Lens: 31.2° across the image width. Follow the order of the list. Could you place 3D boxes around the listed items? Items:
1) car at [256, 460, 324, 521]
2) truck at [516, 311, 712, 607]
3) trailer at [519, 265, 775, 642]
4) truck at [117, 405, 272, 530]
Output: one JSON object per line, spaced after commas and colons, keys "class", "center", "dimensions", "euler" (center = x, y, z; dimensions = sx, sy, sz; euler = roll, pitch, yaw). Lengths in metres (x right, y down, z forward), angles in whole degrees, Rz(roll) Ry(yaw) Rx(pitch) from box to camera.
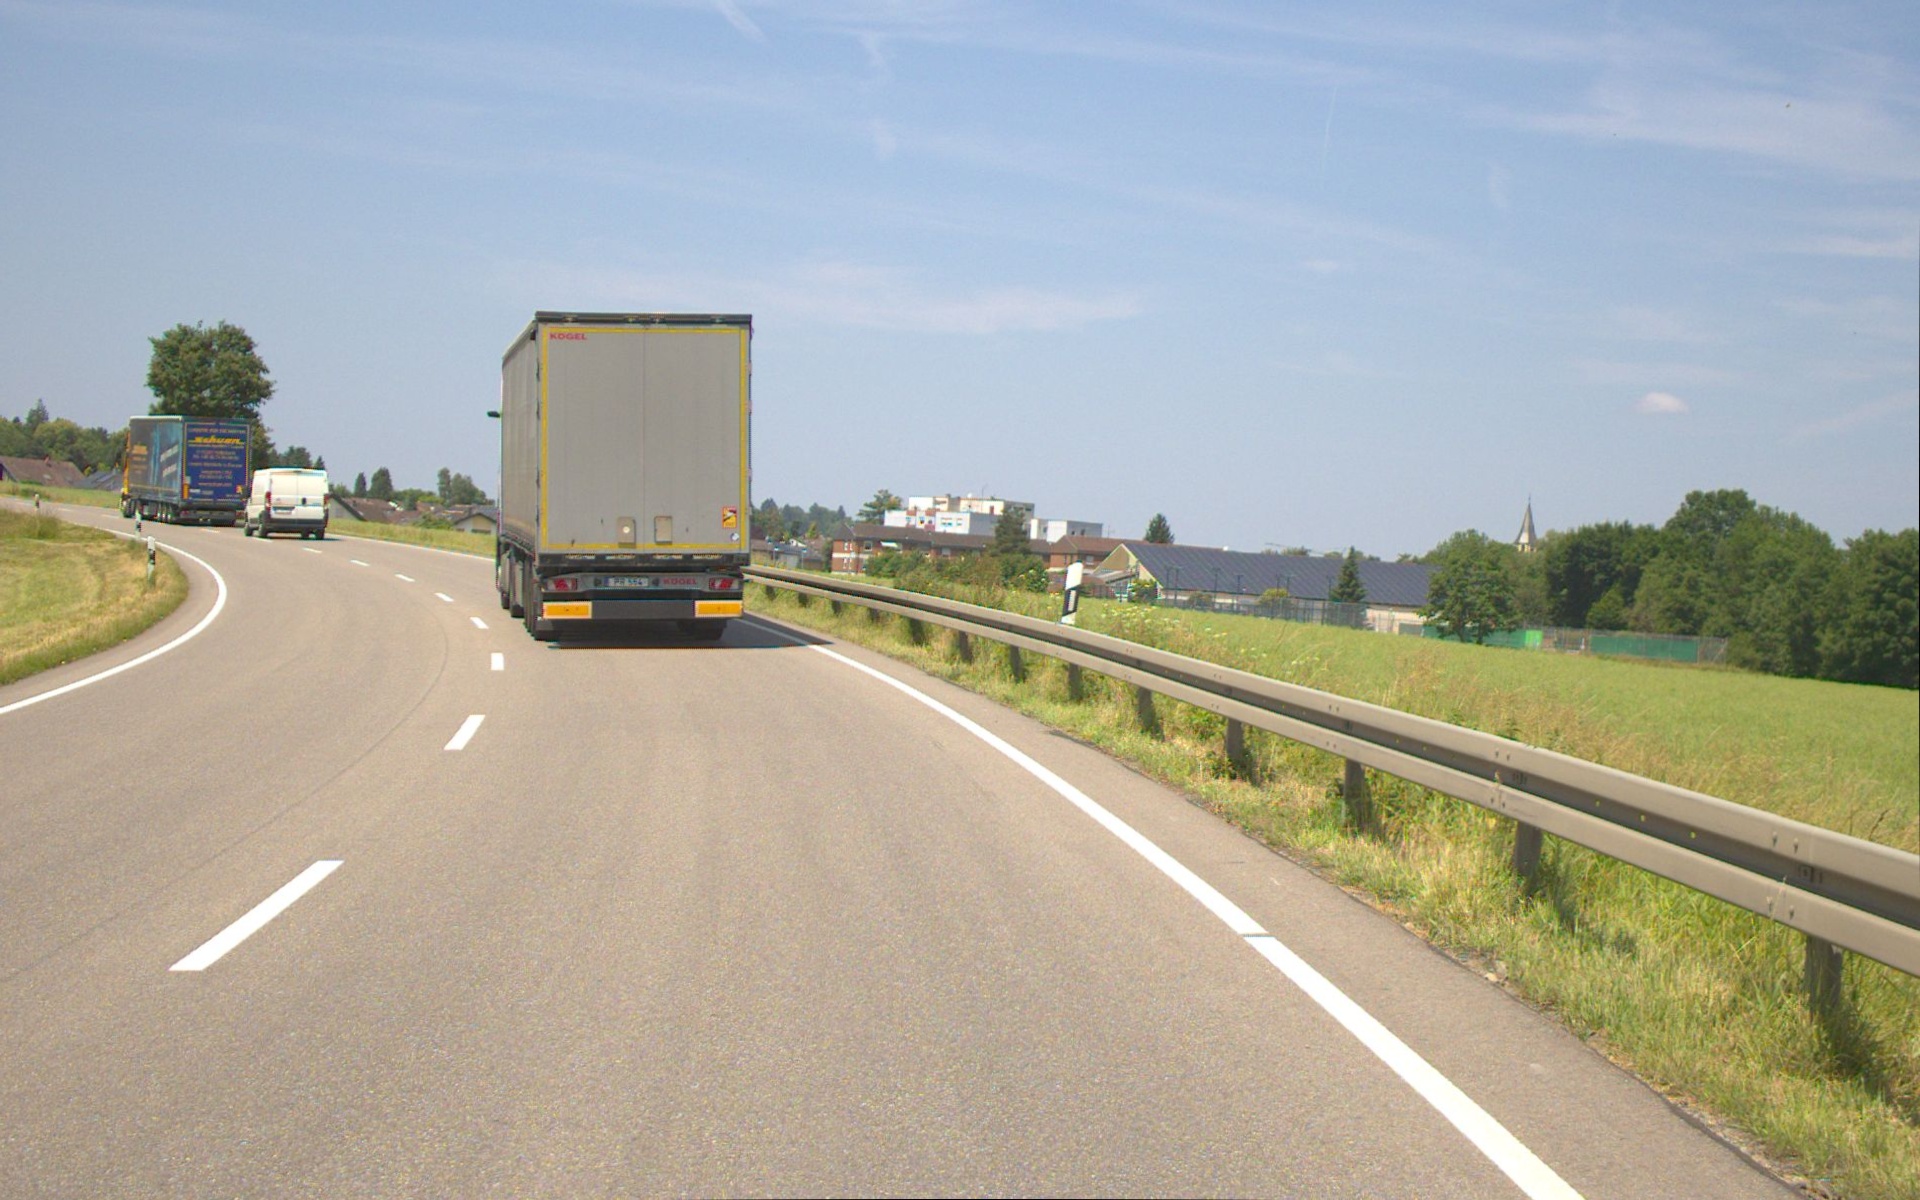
{"class": "car", "center": [-21.551, -3.527, 110.522], "dimensions": [1.725, 1.866, 4.002], "euler": [2, 2, -16]}
{"class": "truck", "center": [-5.470, -2.154, 53.706], "dimensions": [2.859, 4.385, 5.072], "euler": [0, 1, -8]}
{"class": "trailer", "center": [-4.516, -1.930, 46.930], "dimensions": [2.866, 4.385, 13.497], "euler": [0, 2, -8]}
{"class": "truck", "center": [-29.968, -5.105, 133.765], "dimensions": [3.548, 4.377, 18.127], "euler": [2, 1, -19]}
